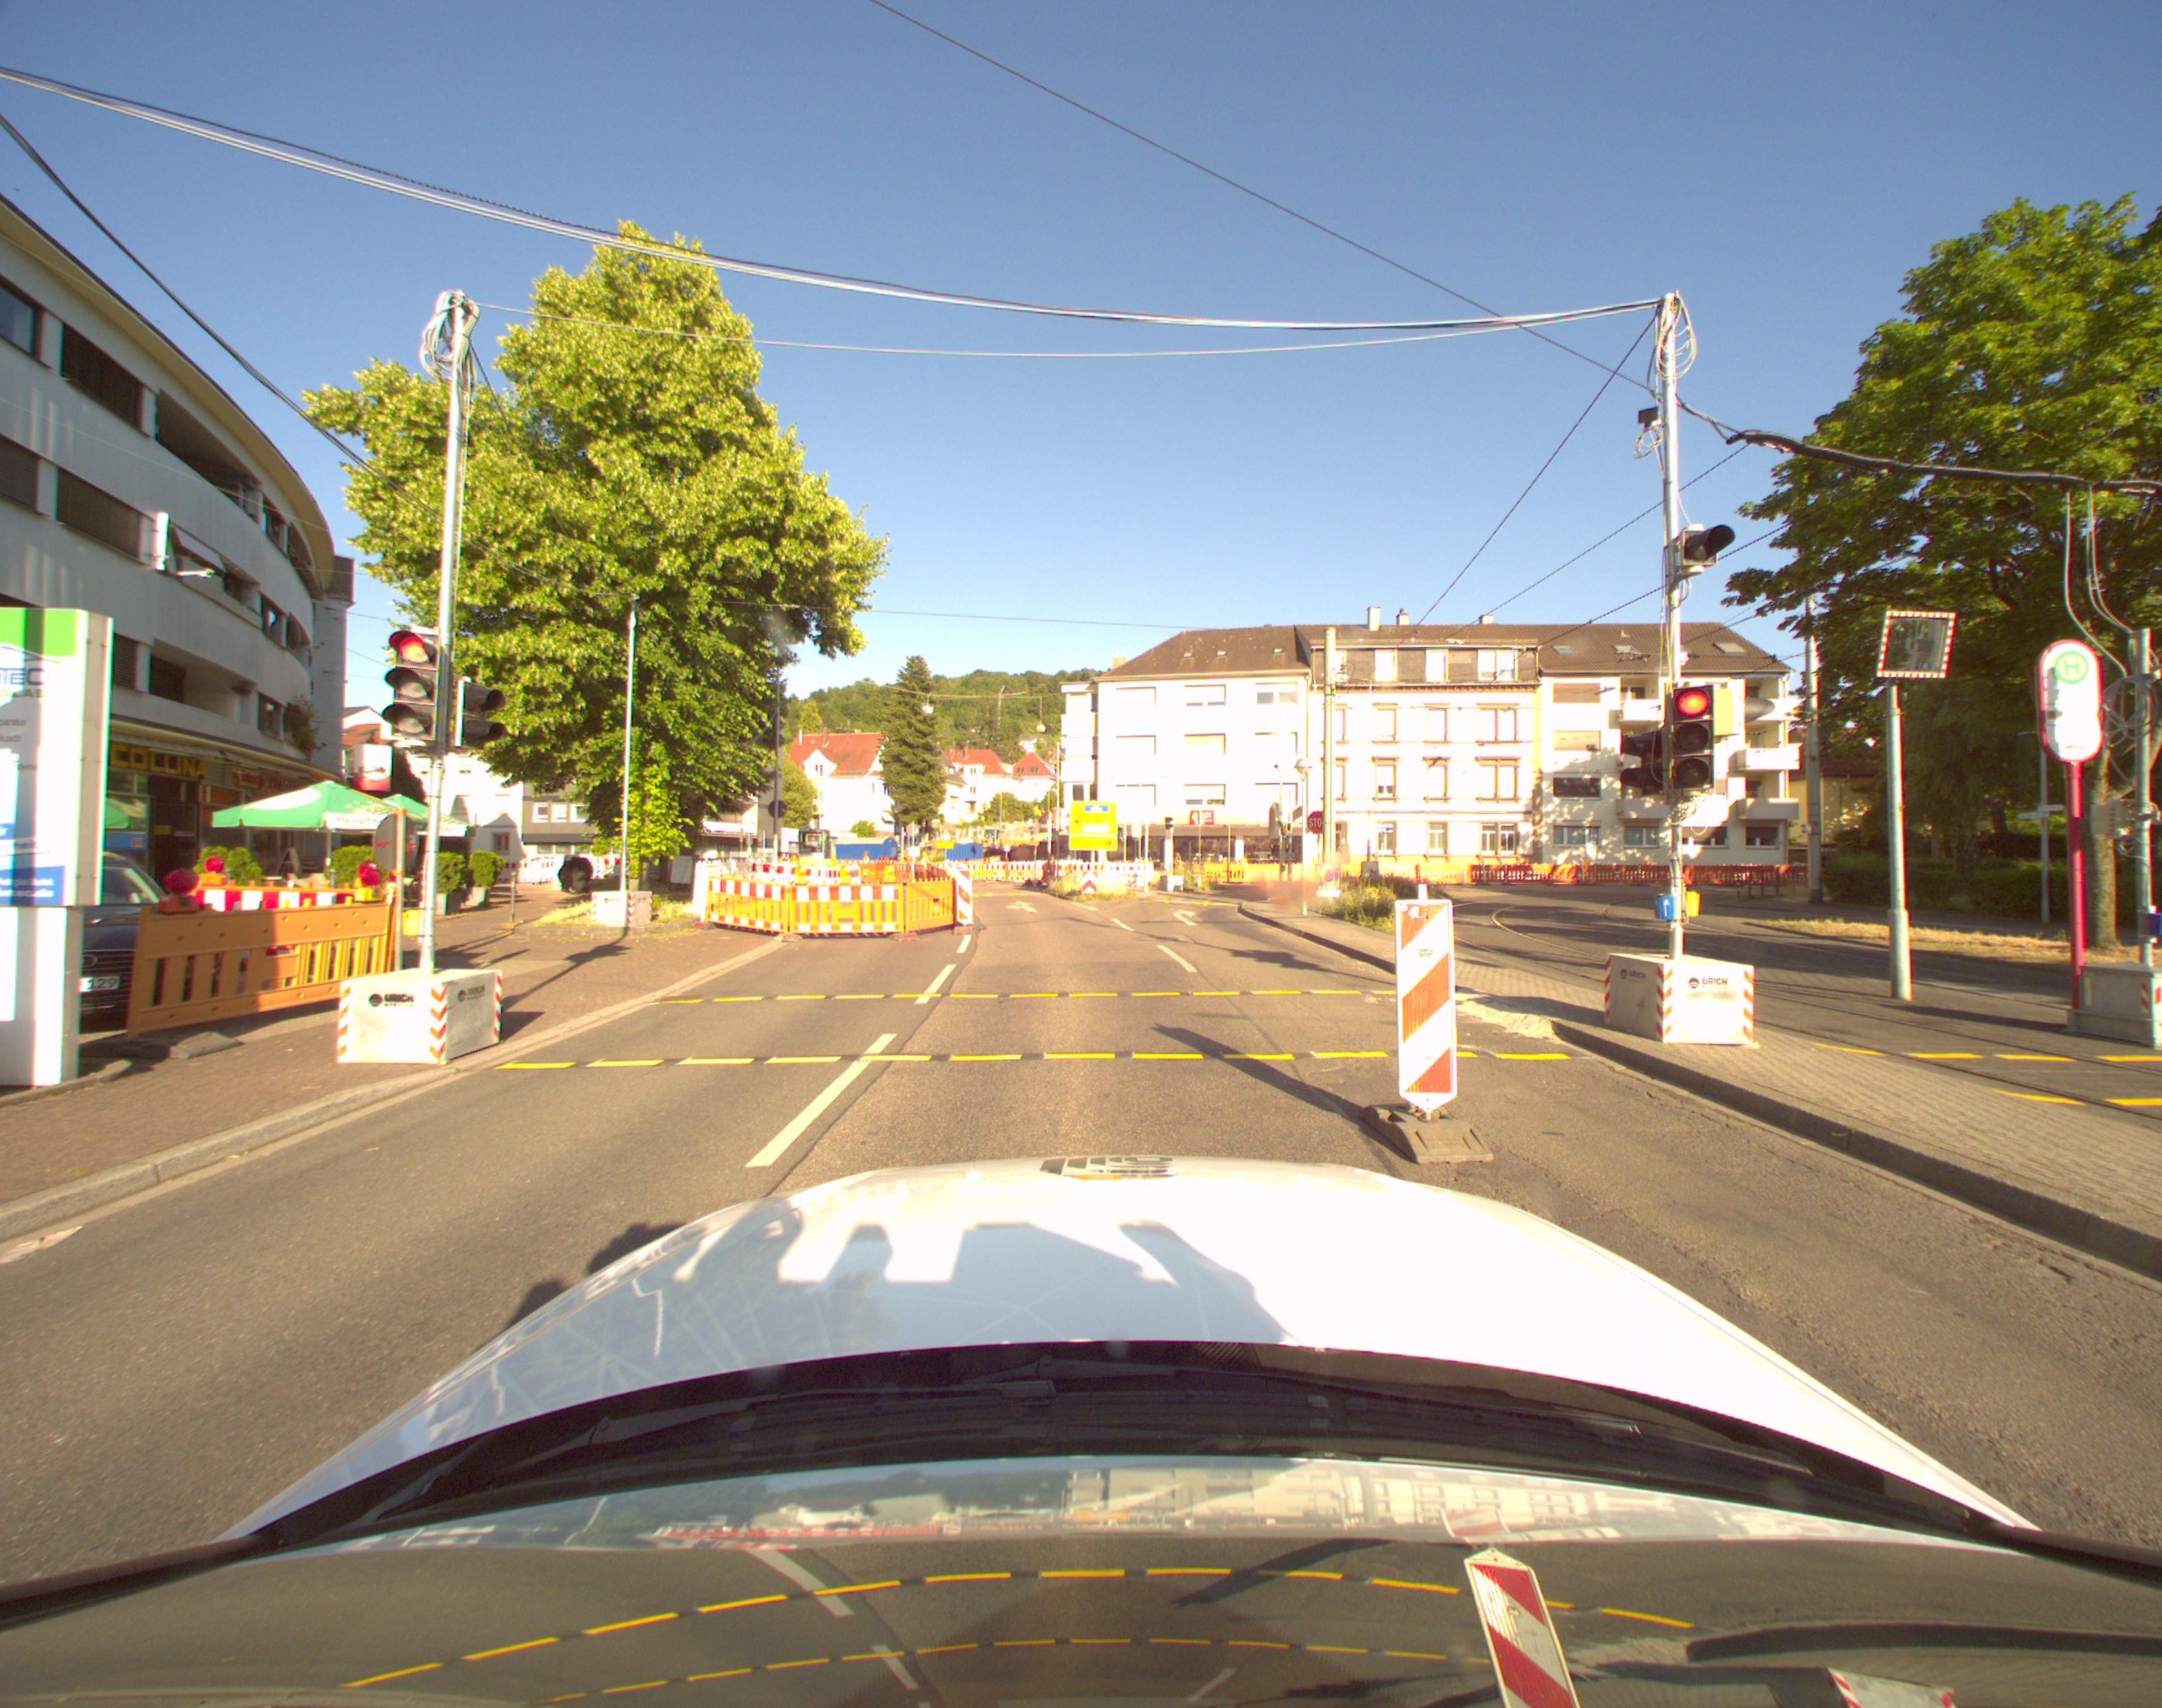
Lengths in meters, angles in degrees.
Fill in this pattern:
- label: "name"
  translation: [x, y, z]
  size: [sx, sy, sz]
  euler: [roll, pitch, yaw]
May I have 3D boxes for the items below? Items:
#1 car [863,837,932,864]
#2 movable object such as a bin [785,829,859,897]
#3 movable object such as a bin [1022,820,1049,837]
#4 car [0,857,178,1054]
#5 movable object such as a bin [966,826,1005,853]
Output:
- label: "car"
  translation: [-14.910, -0.229, 66.693]
  size: [2.562, 2.121, 6.181]
  euler: [-1, -1, 20]
- label: "movable object such as a bin"
  translation: [-9.417, 0.298, 29.873]
  size: [1.643, 2.324, 3.916]
  euler: [0, 0, -3]
- label: "movable object such as a bin"
  translation: [-6.424, -3.593, 115.292]
  size: [2.549, 2.122, 5.801]
  euler: [-1, -1, 11]
- label: "car"
  translation: [-9.323, 0.776, 7.308]
  size: [3.835, 1.438, 1.606]
  euler: [-1, 0, 42]
- label: "movable object such as a bin"
  translation: [-9.245, -1.349, 79.392]
  size: [1.932, 2.494, 4.574]
  euler: [-1, -1, 20]
